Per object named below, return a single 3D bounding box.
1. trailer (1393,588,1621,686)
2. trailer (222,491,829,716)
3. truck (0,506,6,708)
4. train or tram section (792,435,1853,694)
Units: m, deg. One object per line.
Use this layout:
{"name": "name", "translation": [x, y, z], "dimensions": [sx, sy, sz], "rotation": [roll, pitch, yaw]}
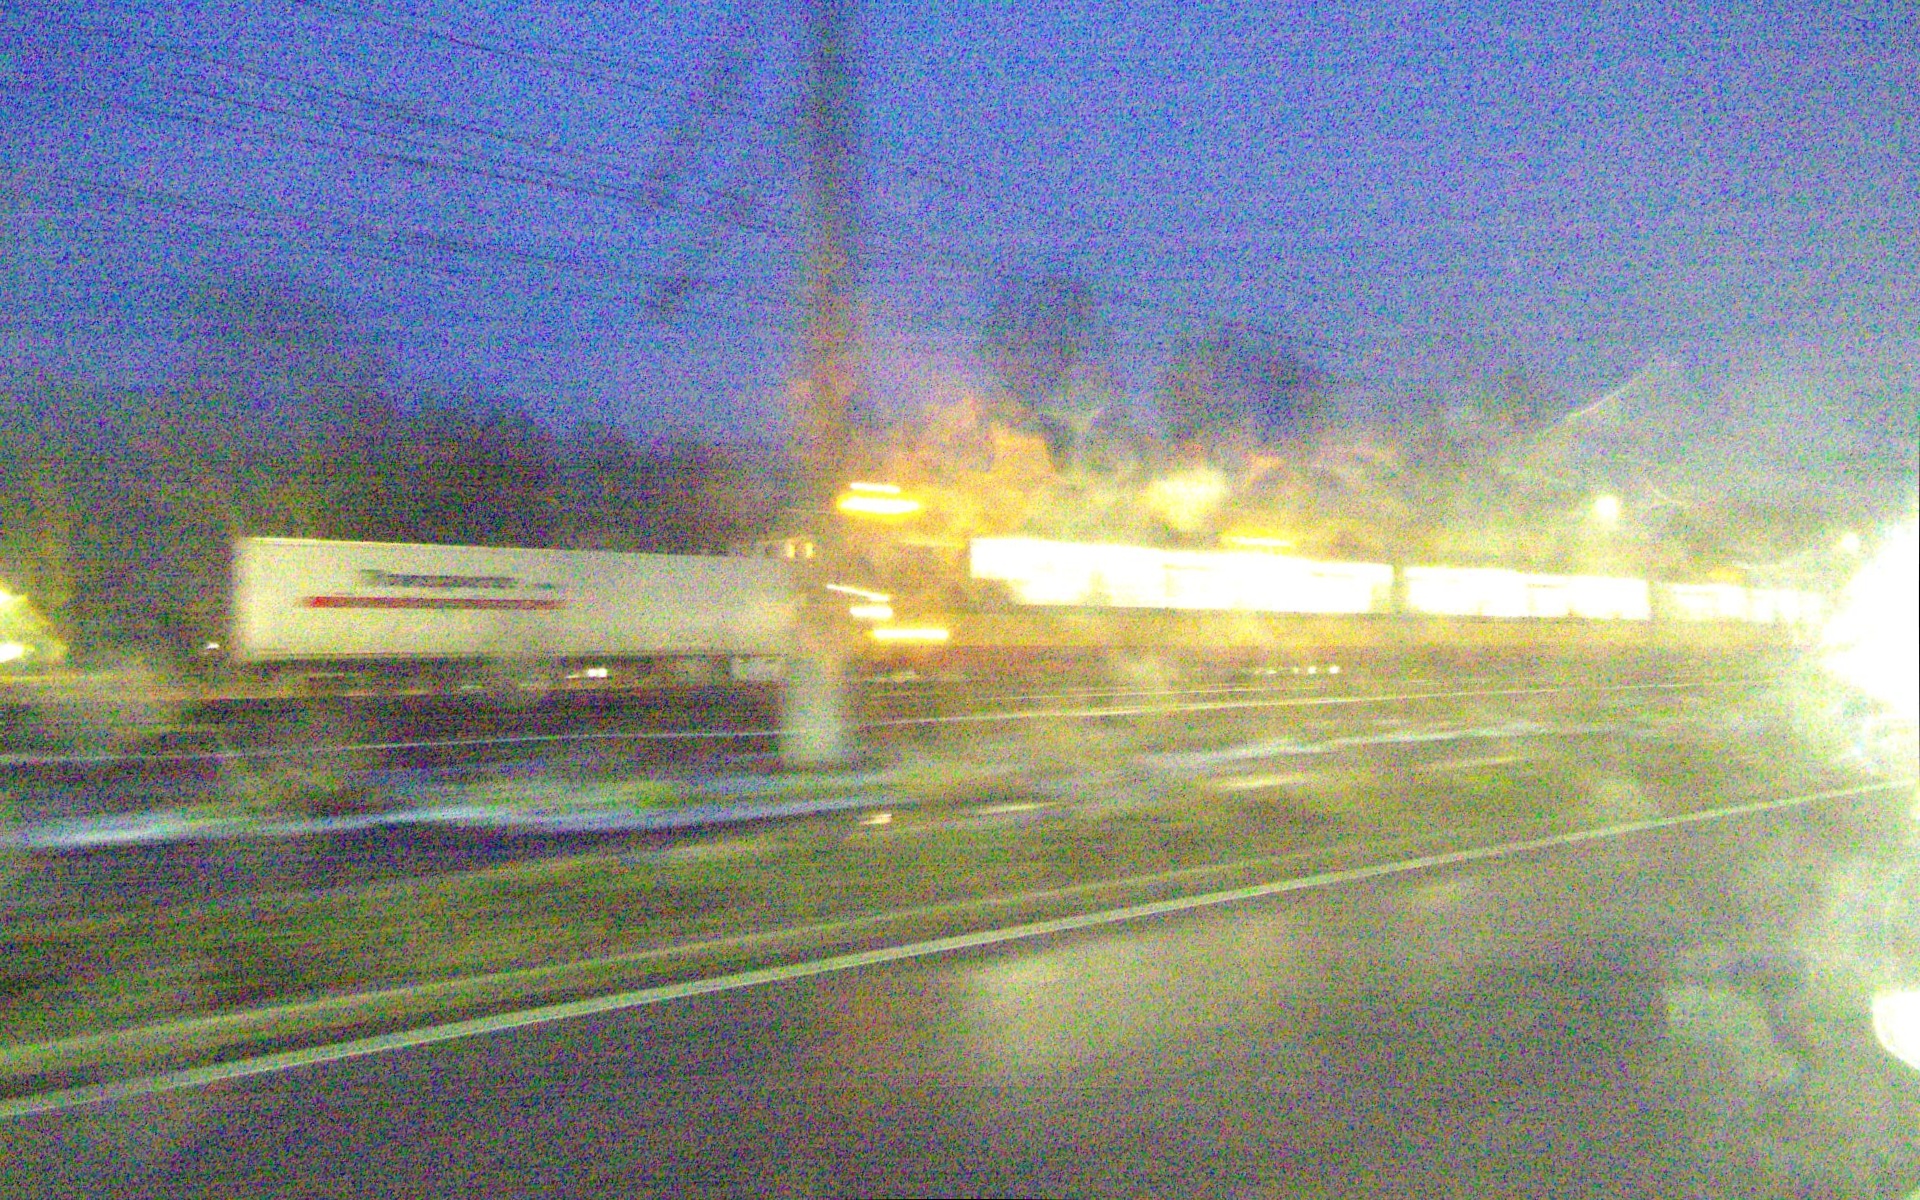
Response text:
{"name": "trailer", "translation": [29.166, 1.950, 53.167], "dimensions": [14.085, 4.671, 3.950], "rotation": [2, 0, -31]}
{"name": "trailer", "translation": [-11.289, 0.288, 28.162], "dimensions": [14.666, 5.079, 3.950], "rotation": [2, 0, -31]}
{"name": "truck", "translation": [-25.690, 0.039, 19.249], "dimensions": [10.097, 4.671, 3.421], "rotation": [2, 0, -31]}
{"name": "train or tram section", "translation": [13.585, 0.022, 25.544], "dimensions": [36.717, 3.865, 2.683], "rotation": [2, 0, -31]}
